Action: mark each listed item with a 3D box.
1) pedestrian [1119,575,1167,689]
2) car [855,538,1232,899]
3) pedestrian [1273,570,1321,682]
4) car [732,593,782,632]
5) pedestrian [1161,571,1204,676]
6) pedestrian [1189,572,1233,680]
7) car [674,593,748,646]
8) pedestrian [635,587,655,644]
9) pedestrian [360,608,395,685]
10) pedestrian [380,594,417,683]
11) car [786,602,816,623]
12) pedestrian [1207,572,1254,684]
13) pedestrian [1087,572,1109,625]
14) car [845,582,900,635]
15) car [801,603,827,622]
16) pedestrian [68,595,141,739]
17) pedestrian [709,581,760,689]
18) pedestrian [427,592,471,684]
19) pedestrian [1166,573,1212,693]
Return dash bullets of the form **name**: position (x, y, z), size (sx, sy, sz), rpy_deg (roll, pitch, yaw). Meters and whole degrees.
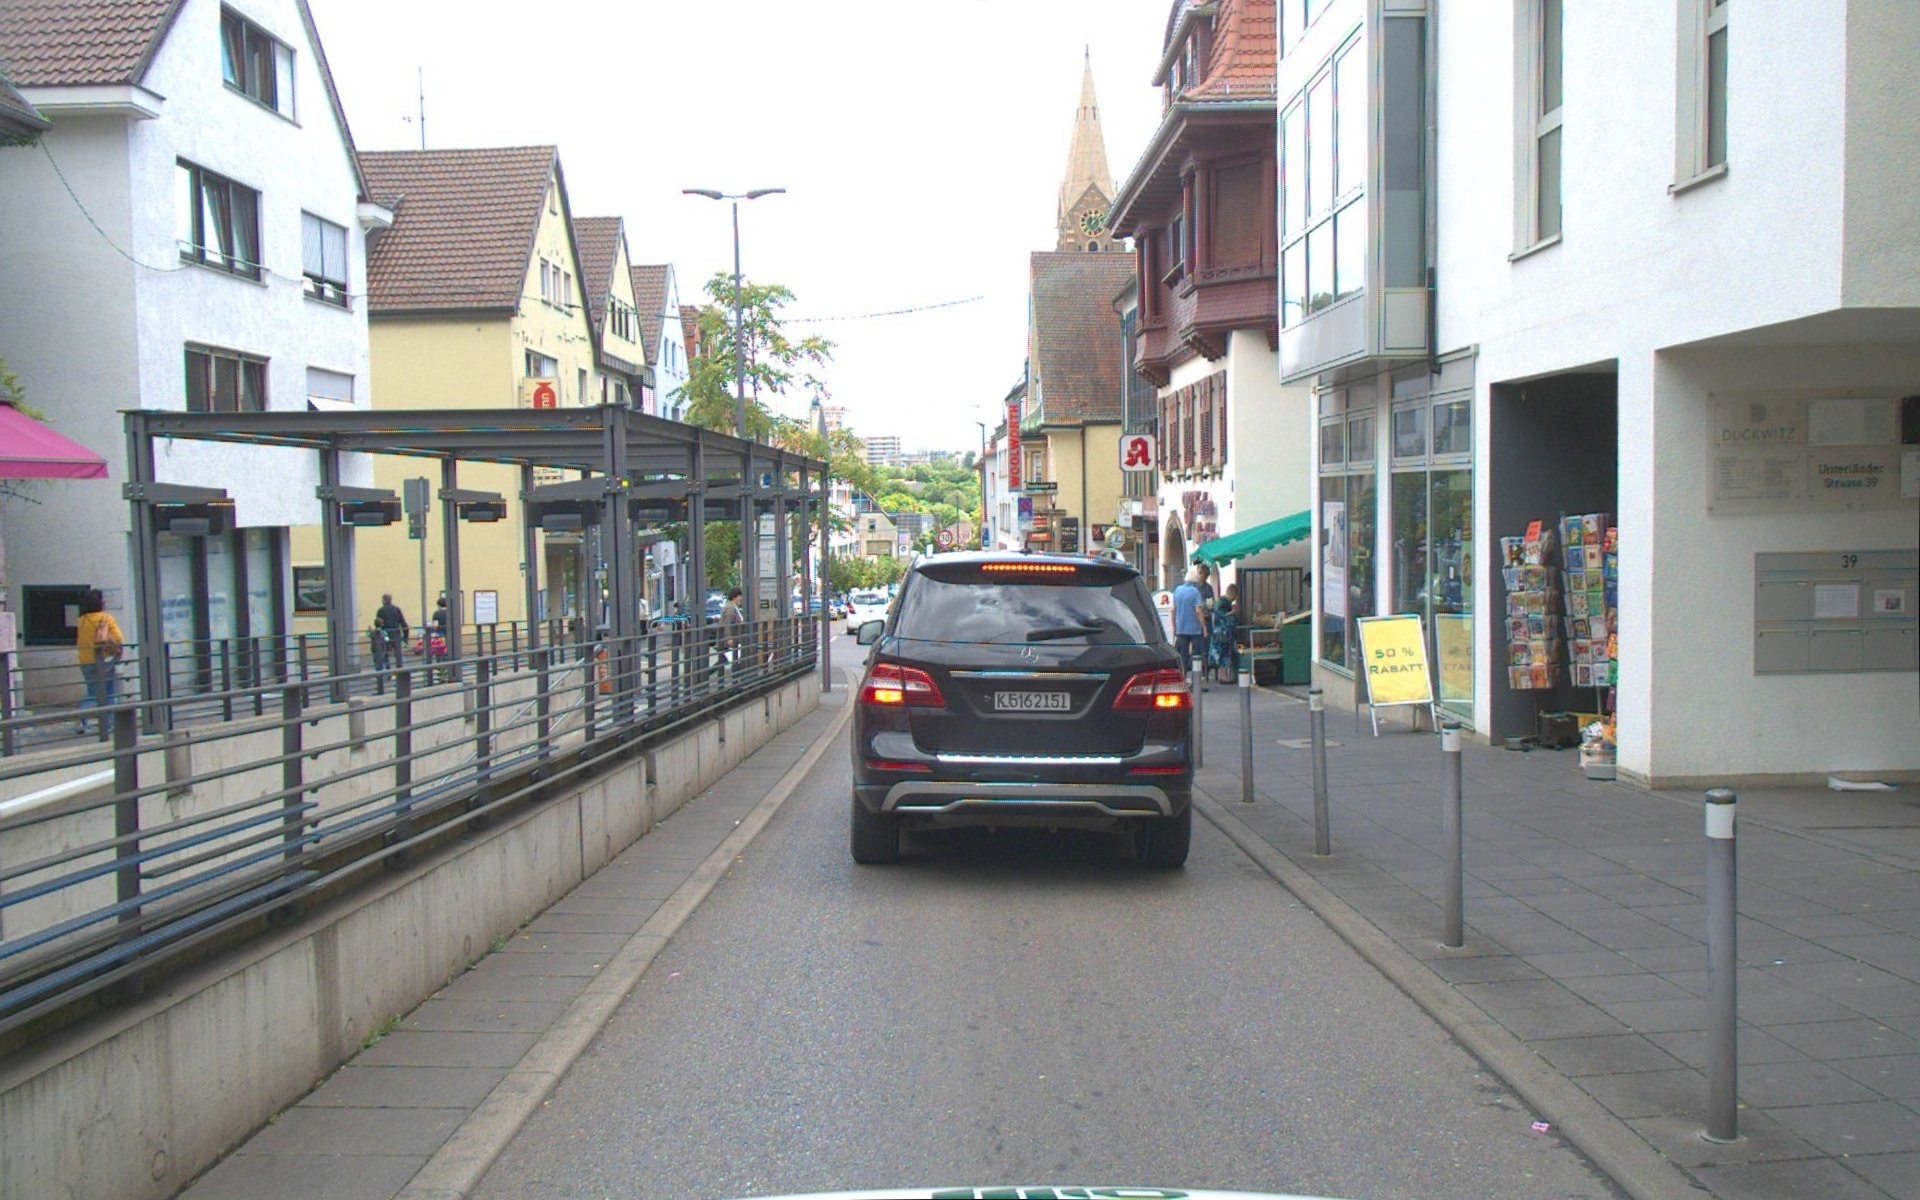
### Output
- **pedestrian**: position (2.804, 0.490, 25.377), size (0.609, 1.718, 0.565), rpy_deg (1, 0, -7)
- **car**: position (0.343, 0.589, 10.242), size (1.862, 1.777, 3.998), rpy_deg (1, 0, -2)
- **pedestrian**: position (5.308, 0.403, 26.047), size (0.562, 1.718, 0.565), rpy_deg (-1, 0, -7)
- **car**: position (-8.354, 0.494, 68.258), size (1.626, 1.516, 3.747), rpy_deg (1, 0, 0)
- **pedestrian**: position (3.968, 0.415, 29.531), size (0.626, 1.841, 0.684), rpy_deg (1, 0, -2)
- **pedestrian**: position (4.071, 0.415, 26.835), size (0.562, 1.718, 0.565), rpy_deg (1, 0, -7)
- **car**: position (-7.621, 0.577, 50.960), size (1.655, 1.516, 3.978), rpy_deg (1, 0, 0)
- **pedestrian**: position (-9.641, 0.472, 50.592), size (0.502, 1.718, 0.541), rpy_deg (1, 0, -1)
- **pedestrian**: position (-11.094, 0.875, 31.524), size (0.447, 1.446, 0.533), rpy_deg (1, 0, 2)
- **pedestrian**: position (-10.941, 0.746, 32.241), size (0.601, 1.718, 0.561), rpy_deg (1, 0, -15)
- **car**: position (-8.736, 0.682, 90.902), size (1.360, 1.089, 3.112), rpy_deg (-1, 0, 0)
- **pedestrian**: position (4.234, 0.426, 25.892), size (0.562, 1.718, 0.565), rpy_deg (-1, 0, -7)
- **pedestrian**: position (4.514, -0.045, 54.187), size (0.594, 1.718, 0.724), rpy_deg (-1, 0, -1)
- **car**: position (-3.029, 0.284, 57.909), size (1.734, 1.743, 3.999), rpy_deg (1, 0, -1)
- **car**: position (-9.089, 0.762, 103.052), size (1.360, 1.089, 3.112), rpy_deg (-1, 0, 0)
- **pedestrian**: position (-10.369, 0.802, 20.063), size (0.566, 1.718, 0.576), rpy_deg (1, 0, -1)
- **pedestrian**: position (-3.660, 0.559, 26.876), size (0.750, 1.718, 0.727), rpy_deg (1, 0, -4)
- **pedestrian**: position (-9.766, 0.720, 31.614), size (0.613, 1.718, 0.679), rpy_deg (1, 0, -1)
- **pedestrian**: position (3.406, 0.490, 24.646), size (0.531, 1.756, 0.527), rpy_deg (-1, 0, -7)
